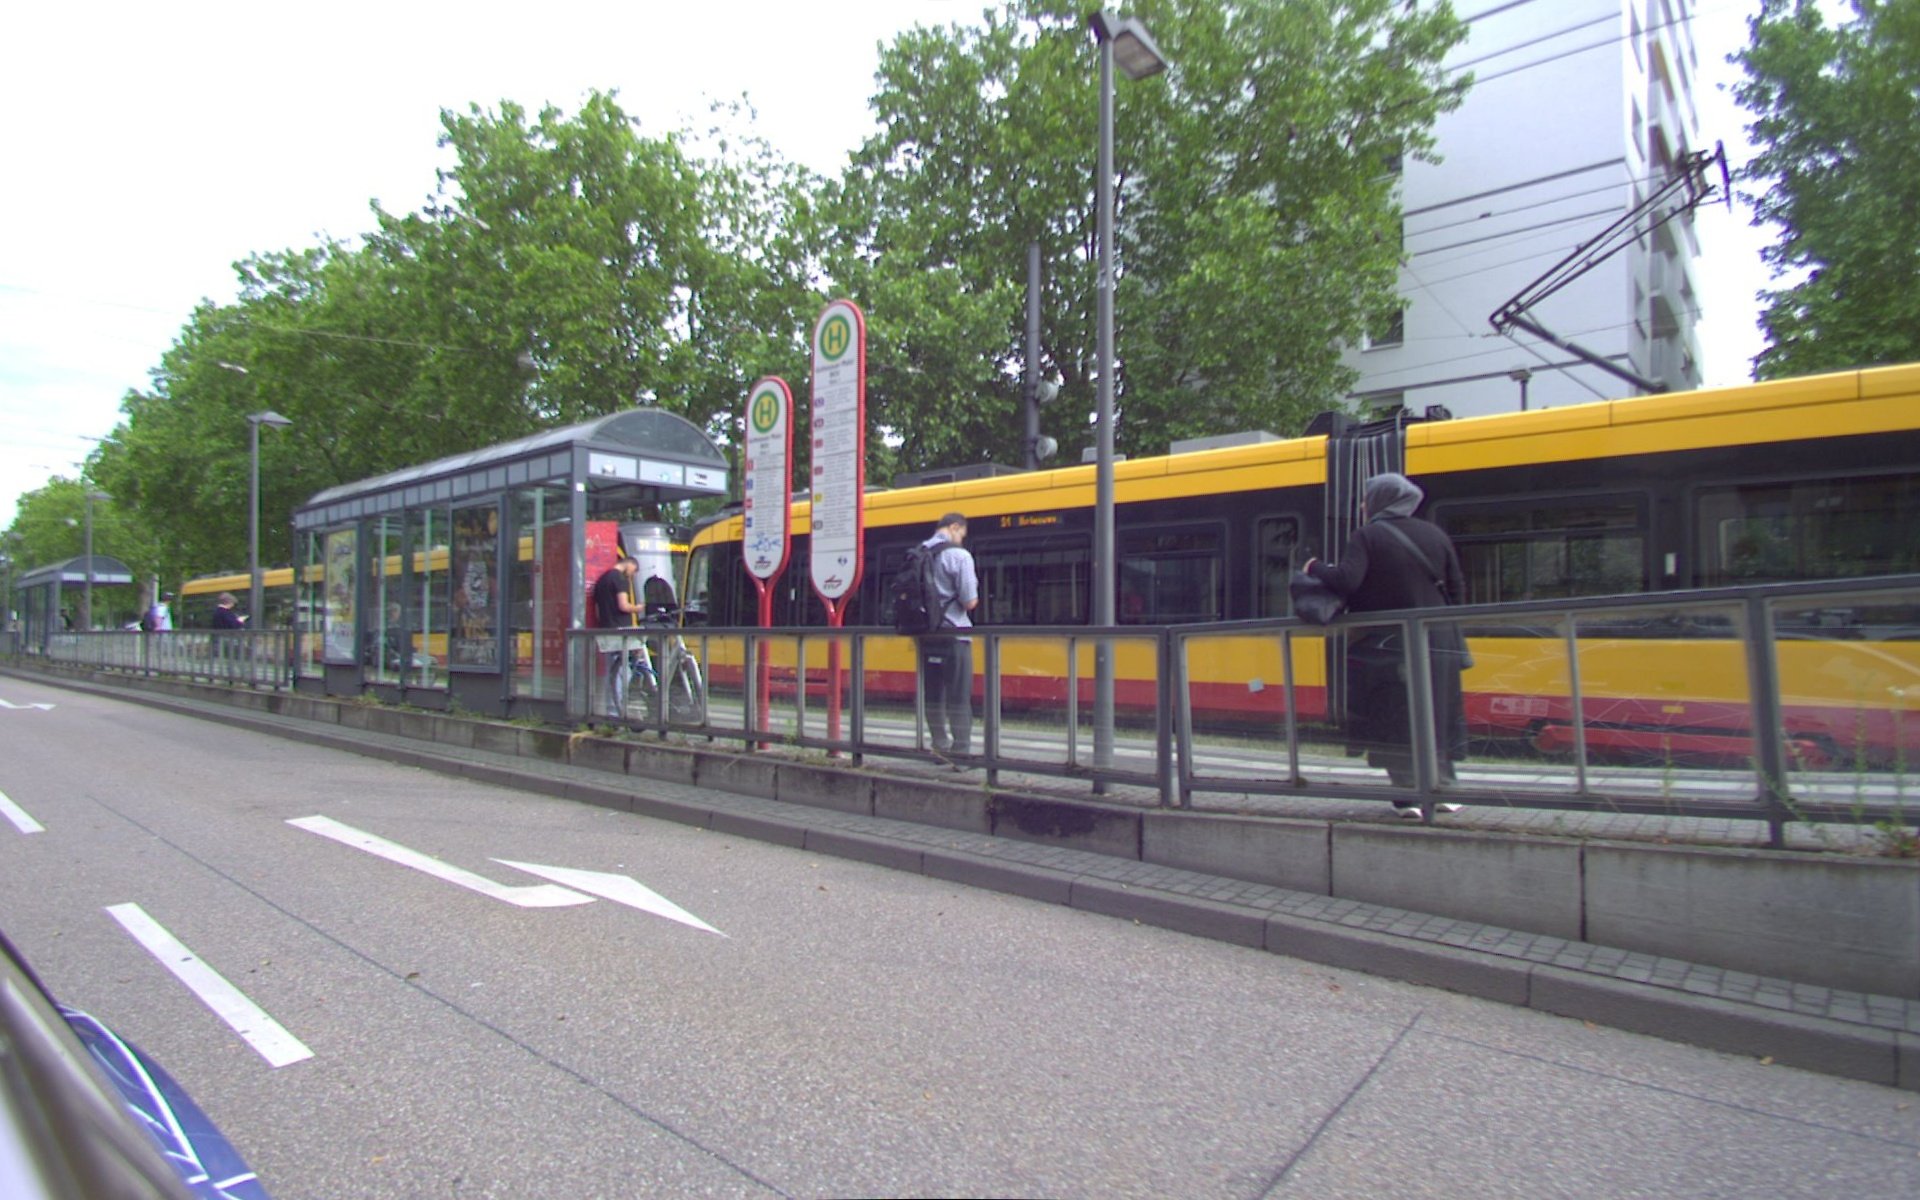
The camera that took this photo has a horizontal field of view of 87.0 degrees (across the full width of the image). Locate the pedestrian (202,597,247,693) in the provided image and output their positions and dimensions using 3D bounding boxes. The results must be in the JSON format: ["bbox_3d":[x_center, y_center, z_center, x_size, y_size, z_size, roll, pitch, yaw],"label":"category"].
[{"bbox_3d":[-12.871,0.779,17.716,0.730,1.645,0.506,-2,-1,42],"label":"pedestrian"}]

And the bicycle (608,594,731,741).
[{"bbox_3d":[-2.620,0.582,9.061,1.289,1.231,0.414,-2,-1,41],"label":"bicycle"}]

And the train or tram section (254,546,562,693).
[{"bbox_3d":[-17.484,0.629,30.912,15.763,3.558,3.028,-2,-1,41],"label":"train or tram section"}]

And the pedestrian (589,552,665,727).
[{"bbox_3d":[-3.247,0.375,9.879,0.471,1.645,0.526,-2,-1,39],"label":"pedestrian"}]

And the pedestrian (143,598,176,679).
[{"bbox_3d":[-16.438,0.785,20.792,0.392,1.645,0.474,-2,-1,42],"label":"pedestrian"}]

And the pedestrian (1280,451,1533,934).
[{"bbox_3d":[2.001,0.396,4.657,0.808,2.029,0.754,-1,-1,4],"label":"pedestrian"}]

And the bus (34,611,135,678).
[{"bbox_3d":[-28.729,1.410,33.189,3.998,2.029,1.973,-2,-1,41],"label":"bus"}]

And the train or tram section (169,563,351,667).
[{"bbox_3d":[-28.121,0.636,40.263,12.533,3.589,3.060,-2,-1,41],"label":"train or tram section"}]

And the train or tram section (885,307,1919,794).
[{"bbox_3d":[5.674,-0.301,10.592,15.287,3.558,3.028,-2,-1,41],"label":"train or tram section"}]

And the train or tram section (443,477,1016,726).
[{"bbox_3d":[-5.819,0.177,20.689,15.287,3.558,3.028,-2,-1,41],"label":"train or tram section"}]

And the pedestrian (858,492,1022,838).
[{"bbox_3d":[-0.144,0.383,6.476,0.742,2.029,0.821,0,-1,-26],"label":"pedestrian"}]
